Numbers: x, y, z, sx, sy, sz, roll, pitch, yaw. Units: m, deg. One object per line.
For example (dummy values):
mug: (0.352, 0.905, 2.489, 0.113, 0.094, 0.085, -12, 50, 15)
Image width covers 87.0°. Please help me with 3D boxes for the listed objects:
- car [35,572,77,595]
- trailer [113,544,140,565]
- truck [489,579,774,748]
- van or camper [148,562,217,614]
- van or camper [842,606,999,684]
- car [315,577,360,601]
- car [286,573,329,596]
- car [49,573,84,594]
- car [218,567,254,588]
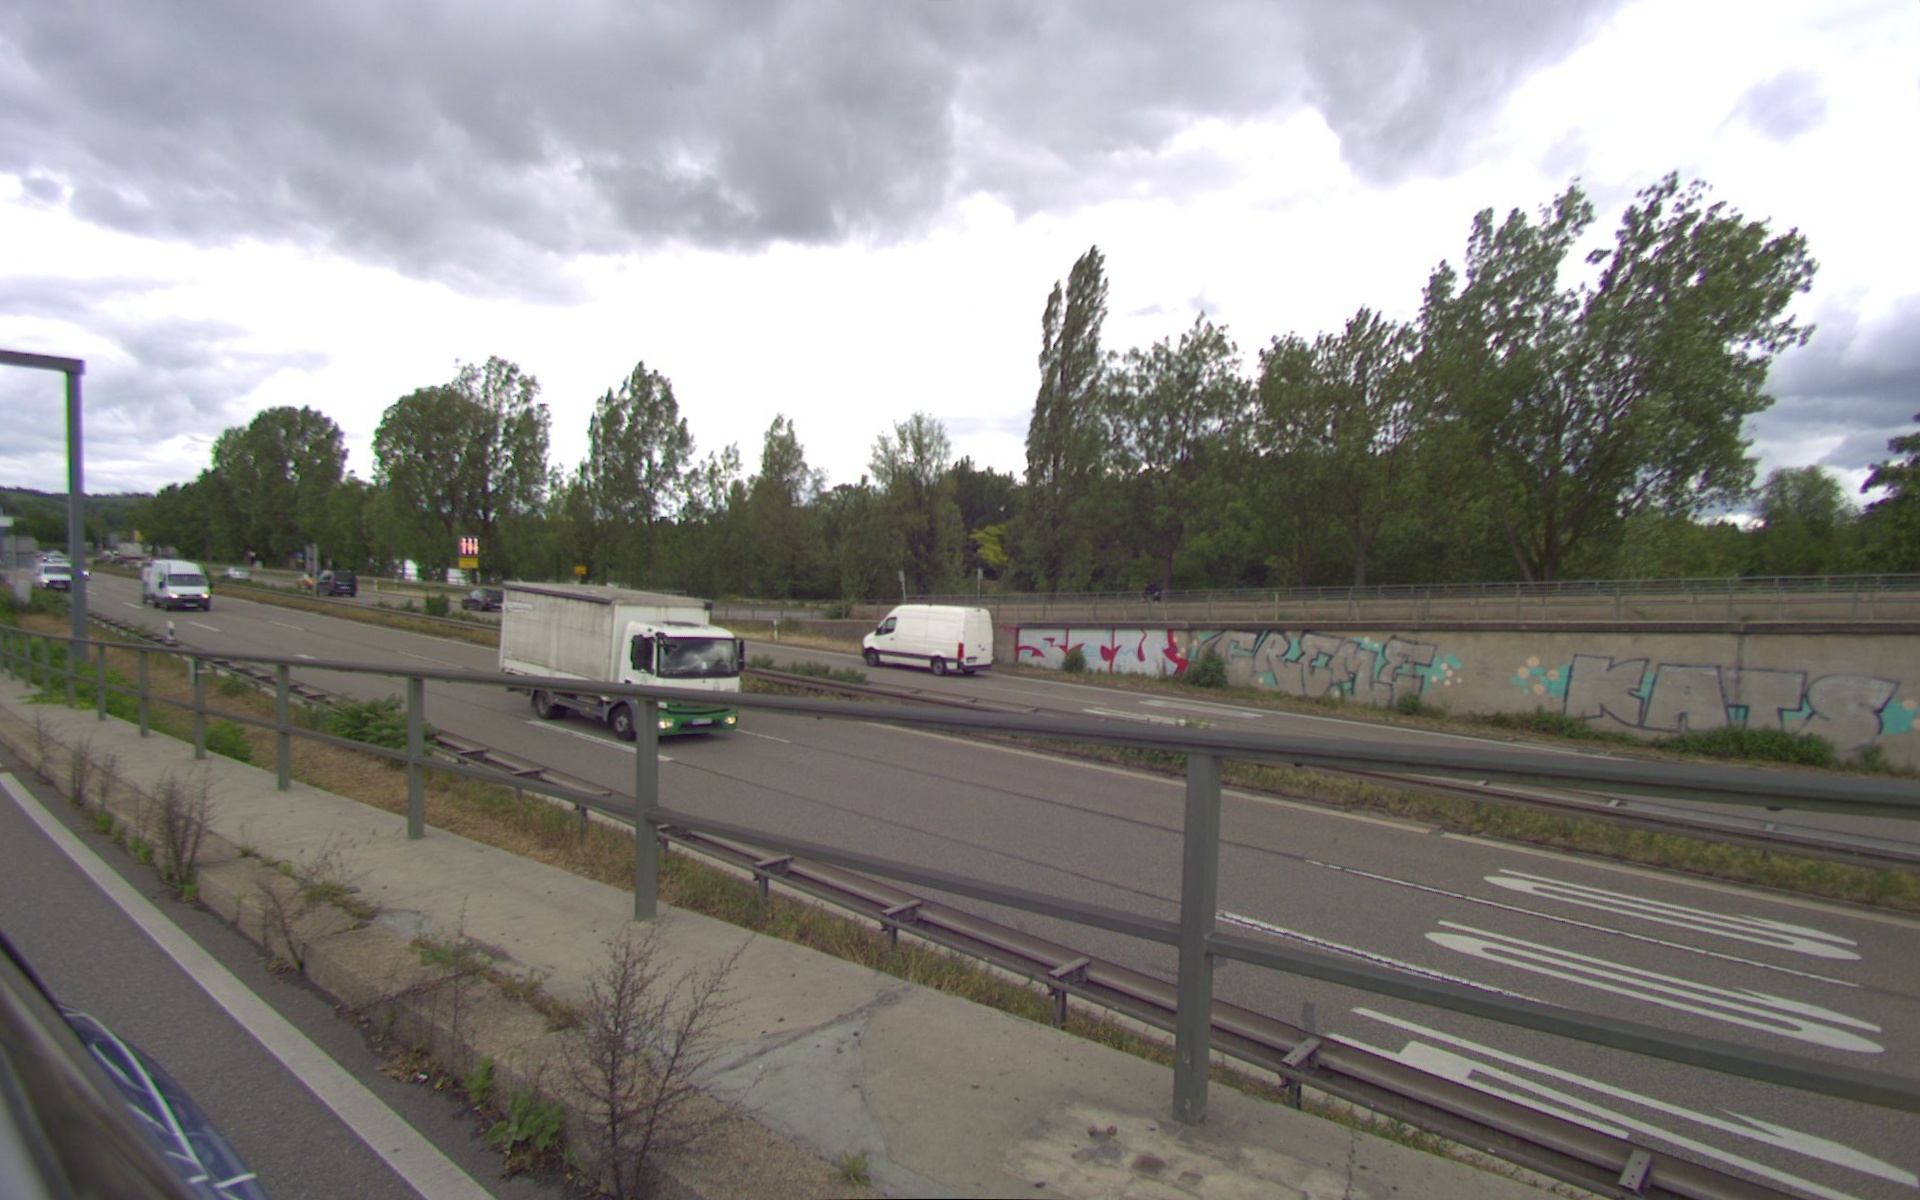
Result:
car: (-61.088, -1.129, 68.335, 1.970, 1.410, 4.004, 1, 1, -44)
trailer: (-165.206, -9.069, 200.541, 13.520, 3.978, 2.759, 3, 3, 44)
truck: (-8.065, 1.255, 24.224, 7.567, 3.182, 3.000, 4, 2, 41)
van or camper: (-43.461, -0.743, 56.531, 6.332, 2.623, 2.180, 4, 3, 44)
van or camper: (-1.638, 1.672, 39.873, 6.343, 2.475, 2.160, 4, 3, 40)
car: (-48.324, -0.886, 78.525, 4.001, 1.763, 1.972, 2, 1, 43)
car: (-58.488, -1.386, 90.644, 4.702, 1.732, 1.973, 5, 2, 41)
car: (-80.854, -1.510, 91.543, 4.000, 1.758, 1.972, 2, 1, 42)
car: (-73.855, -2.343, 103.170, 4.704, 1.704, 1.972, 7, 4, 42)
